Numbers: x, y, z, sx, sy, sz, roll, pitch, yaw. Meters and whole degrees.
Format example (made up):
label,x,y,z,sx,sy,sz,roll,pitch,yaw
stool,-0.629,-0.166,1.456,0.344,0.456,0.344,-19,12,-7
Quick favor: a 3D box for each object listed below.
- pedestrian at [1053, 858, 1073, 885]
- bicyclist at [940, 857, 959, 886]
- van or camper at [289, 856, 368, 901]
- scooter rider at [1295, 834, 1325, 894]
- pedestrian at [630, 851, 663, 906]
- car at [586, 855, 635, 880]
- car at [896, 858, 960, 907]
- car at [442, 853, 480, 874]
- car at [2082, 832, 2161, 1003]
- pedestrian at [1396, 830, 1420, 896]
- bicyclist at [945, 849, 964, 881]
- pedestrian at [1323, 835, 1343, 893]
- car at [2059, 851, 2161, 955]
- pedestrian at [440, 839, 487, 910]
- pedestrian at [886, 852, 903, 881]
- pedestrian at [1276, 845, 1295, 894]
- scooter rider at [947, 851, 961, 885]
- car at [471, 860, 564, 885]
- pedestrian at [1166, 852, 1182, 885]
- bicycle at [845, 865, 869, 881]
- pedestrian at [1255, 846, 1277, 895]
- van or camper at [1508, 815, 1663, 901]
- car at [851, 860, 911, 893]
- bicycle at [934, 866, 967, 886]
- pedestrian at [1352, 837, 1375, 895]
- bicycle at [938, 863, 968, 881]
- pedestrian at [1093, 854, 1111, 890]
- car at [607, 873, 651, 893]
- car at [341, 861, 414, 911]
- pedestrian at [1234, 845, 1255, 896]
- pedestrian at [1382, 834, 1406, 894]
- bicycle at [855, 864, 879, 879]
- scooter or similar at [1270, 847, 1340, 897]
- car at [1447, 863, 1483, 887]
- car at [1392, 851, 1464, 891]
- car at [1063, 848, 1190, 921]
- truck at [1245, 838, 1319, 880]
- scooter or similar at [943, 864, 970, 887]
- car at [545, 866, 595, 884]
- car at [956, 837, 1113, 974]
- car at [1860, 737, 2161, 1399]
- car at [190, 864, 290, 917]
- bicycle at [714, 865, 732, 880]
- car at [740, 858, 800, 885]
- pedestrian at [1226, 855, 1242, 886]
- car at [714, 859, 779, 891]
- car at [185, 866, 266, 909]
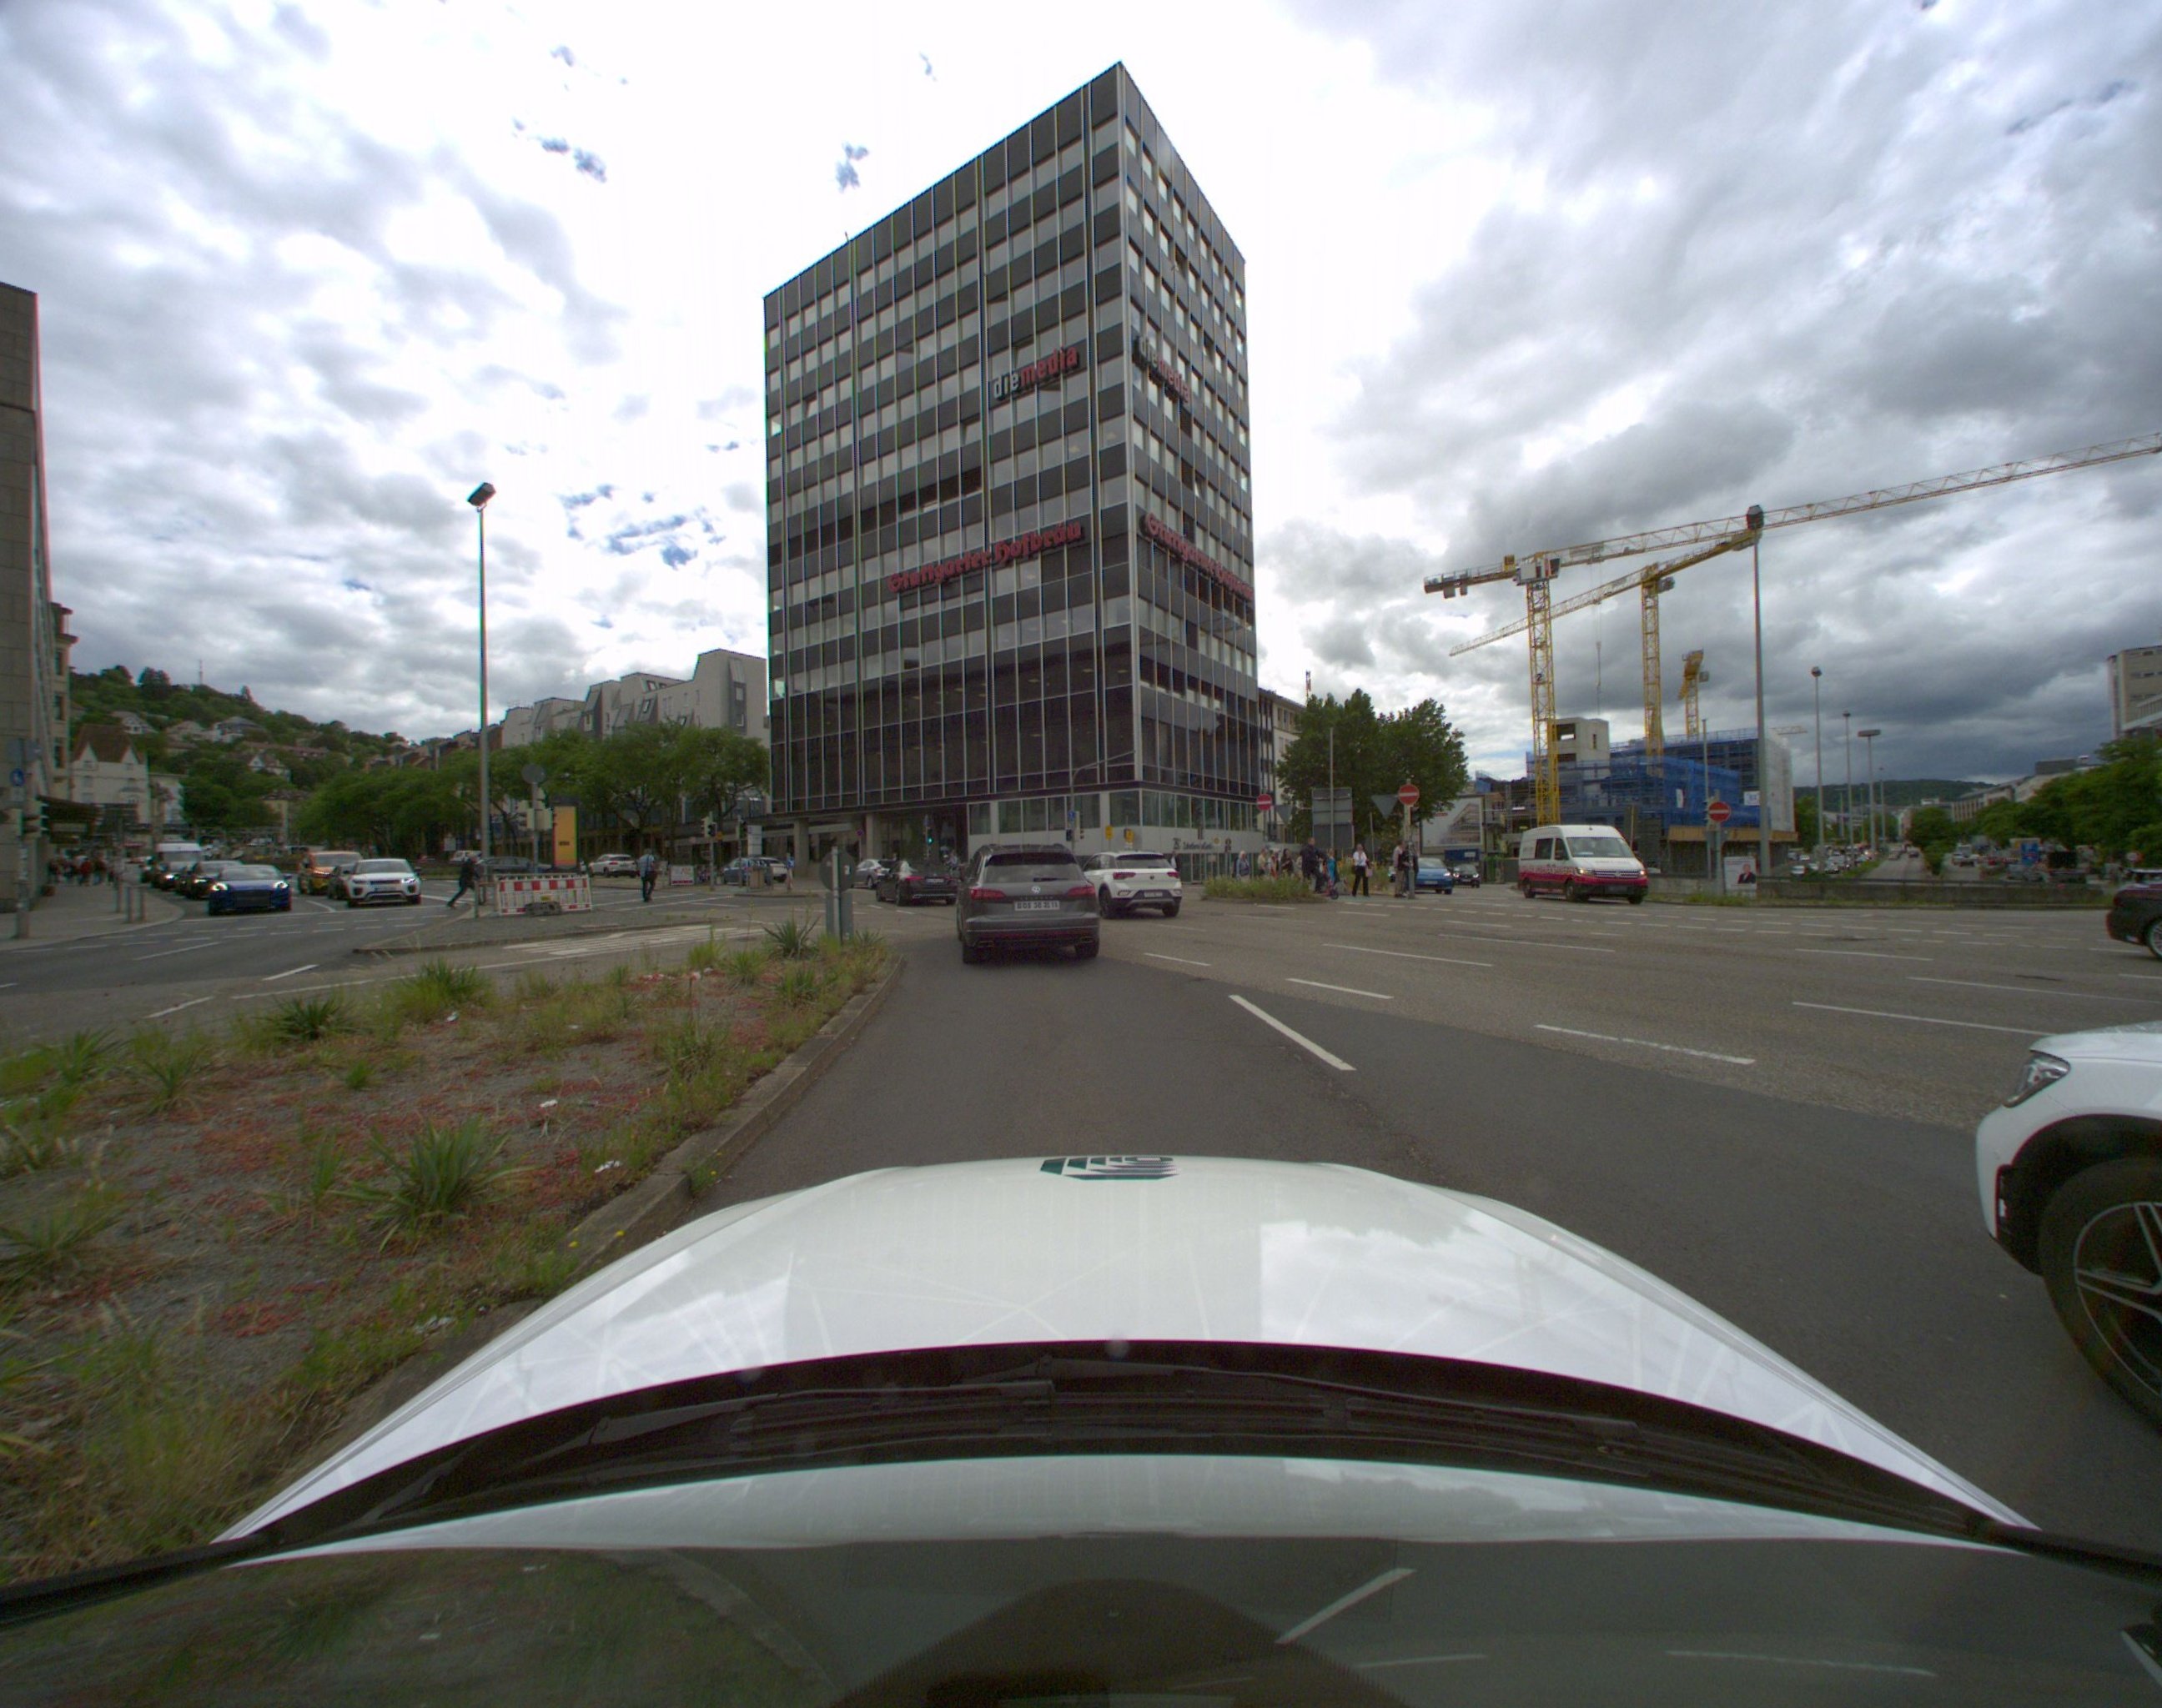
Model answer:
label,x,y,z,sx,sy,sz,roll,pitch,yaw
pedestrian,-0.958,0.925,43.571,0.828,1.442,0.610,-1,0,35
bicyclist,-7.257,0.971,44.966,0.838,1.549,0.567,-2,0,10
van or camper,-34.958,1.093,37.782,5.018,1.921,1.931,-1,1,39
scooter rider,6.685,0.294,23.781,0.737,1.694,0.770,-1,-1,23
pedestrian,-14.783,0.820,27.695,0.626,1.790,0.722,1,4,39
car,-32.030,0.902,55.397,3.719,1.567,1.849,-1,0,42
car,-4.906,0.845,25.994,1.835,1.395,4.131,1,0,-12
car,-59.152,0.891,77.714,4.808,1.874,1.850,-1,0,40
car,10.350,0.523,5.176,1.984,1.504,5.045,0,-1,4
pedestrian,9.905,0.265,24.666,0.635,1.955,0.614,-1,-1,19
bicyclist,-7.437,0.650,47.897,0.803,1.845,0.679,-1,0,34
pedestrian,8.747,0.346,28.266,0.636,1.965,0.613,-1,-1,15
car,14.544,0.618,9.249,1.746,1.333,4.417,0,-1,4
pedestrian,-19.357,0.625,25.525,0.754,2.172,0.883,-1,0,21
pedestrian,-11.304,0.773,49.370,0.743,1.711,0.530,-3,0,34
pedestrian,7.283,0.552,29.027,0.636,1.696,0.613,-1,-1,15
scooter rider,-6.827,0.746,43.737,0.640,1.808,0.593,-2,0,-3
car,-35.005,1.104,50.666,4.591,1.458,1.858,0,0,-43
pedestrian,4.892,0.763,42.863,0.629,1.748,0.594,-1,0,23
bicycle,-15.309,1.291,55.678,1.469,1.048,0.717,-1,0,18
pedestrian,6.940,0.601,30.545,0.695,1.815,0.672,-1,-1,18
van or camper,16.266,0.111,26.758,2.127,2.477,6.177,0,0,9
car,-9.510,1.032,38.544,1.844,1.432,4.110,1,0,-28
bicycle,-7.225,1.227,44.965,1.654,1.027,0.583,-2,0,10
pedestrian,8.953,0.375,25.841,0.636,1.797,0.613,1,0,15
bicycle,-7.554,1.072,47.993,1.745,1.007,0.685,-1,0,34
pedestrian,1.009,0.838,38.738,0.549,1.698,0.795,-1,0,-24
car,-33.934,2.124,61.122,3.719,1.363,1.849,-1,1,43
car,-24.872,1.086,28.739,1.750,1.598,4.266,-1,0,-44
pedestrian,6.051,0.607,30.116,0.695,1.862,0.672,-1,-1,18
pedestrian,10.083,0.320,26.240,0.636,1.910,0.613,-1,-1,15
bicycle,-14.784,1.208,56.330,1.469,1.048,0.717,-1,0,18
scooter or similar,6.567,0.530,23.838,1.865,1.407,0.781,-1,-1,23
car,24.615,1.316,52.310,1.817,1.466,4.021,-1,-1,21
car,14.530,0.669,34.337,1.929,1.482,4.644,-1,1,12
car,0.987,0.648,19.813,1.802,1.545,3.912,-2,1,-17
truck,15.769,0.426,63.571,2.315,3.064,8.251,-1,-1,39
scooter or similar,-6.688,1.132,43.745,1.316,1.176,0.592,-2,0,-3
car,-44.040,1.797,70.110,4.277,1.418,2.076,-1,1,34
car,-0.898,0.627,12.594,1.970,1.695,4.211,-1,1,-9
car,3.485,0.531,0.623,1.794,1.646,4.338,-2,1,3
car,-27.488,1.133,26.587,4.039,1.525,2.012,-1,0,40
bicycle,-28.088,1.441,63.954,1.820,1.132,0.494,-1,-1,38
car,-18.492,1.022,48.341,3.719,1.517,1.849,-1,0,42
pedestrian,8.374,0.899,44.610,0.593,1.678,0.630,0,0,-36
car,-17.679,1.083,42.994,3.720,1.517,1.849,-1,0,45
car,-37.642,1.425,35.804,4.623,1.645,2.013,0,2,39
